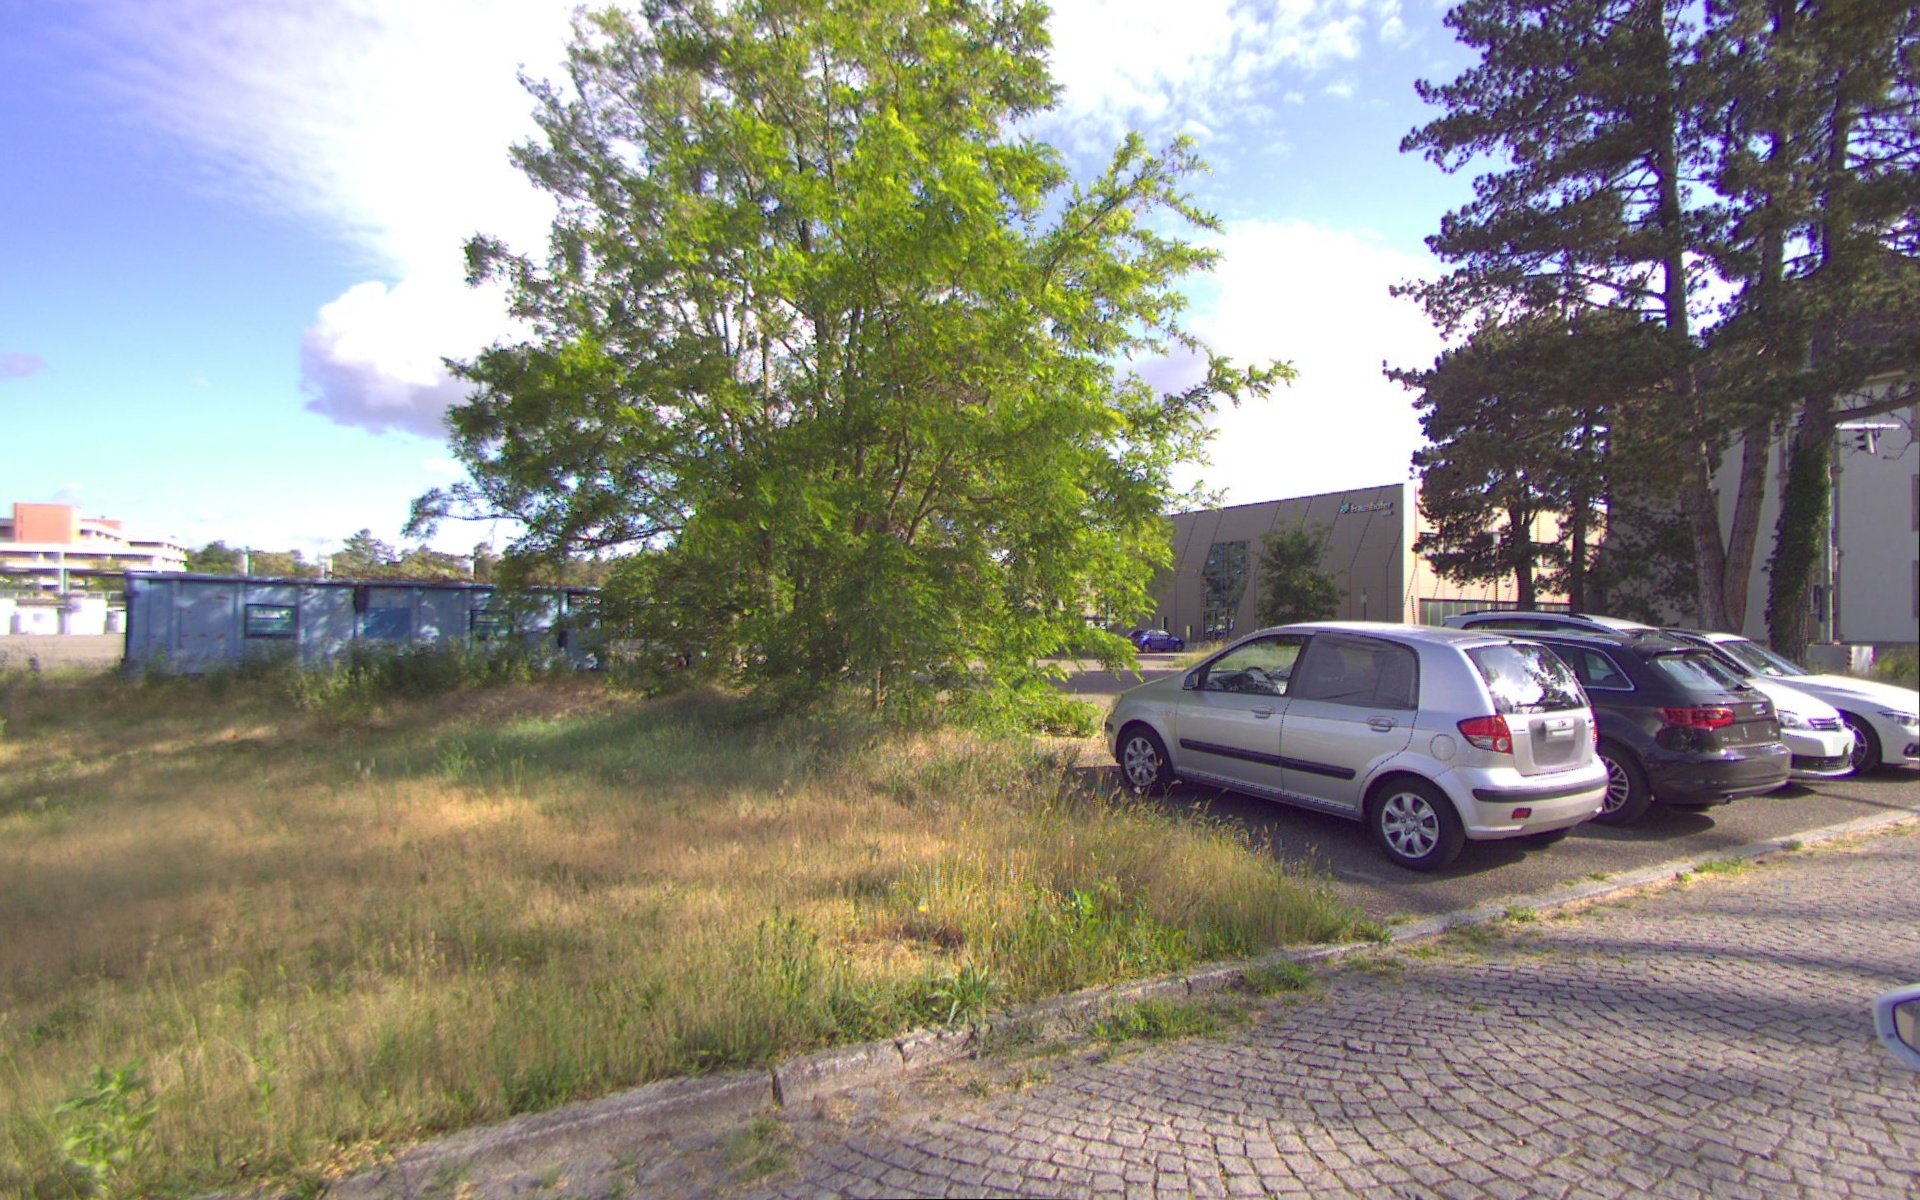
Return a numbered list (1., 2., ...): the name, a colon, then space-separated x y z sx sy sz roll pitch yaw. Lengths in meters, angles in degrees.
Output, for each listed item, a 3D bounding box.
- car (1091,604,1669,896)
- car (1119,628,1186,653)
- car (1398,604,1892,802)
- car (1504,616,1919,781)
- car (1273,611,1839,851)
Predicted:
1. car: 2.828 0.844 7.541 1.628 1.507 3.724 1 1 -33
2. car: 12.151 2.550 63.377 3.953 1.452 1.893 2 -2 -30
3. car: 7.201 0.919 10.994 1.865 1.614 4.056 1 1 -33
4. car: 9.233 1.024 12.157 1.811 1.488 4.308 1 1 -33
5. car: 4.993 0.916 8.973 1.784 1.500 3.963 1 1 -33
